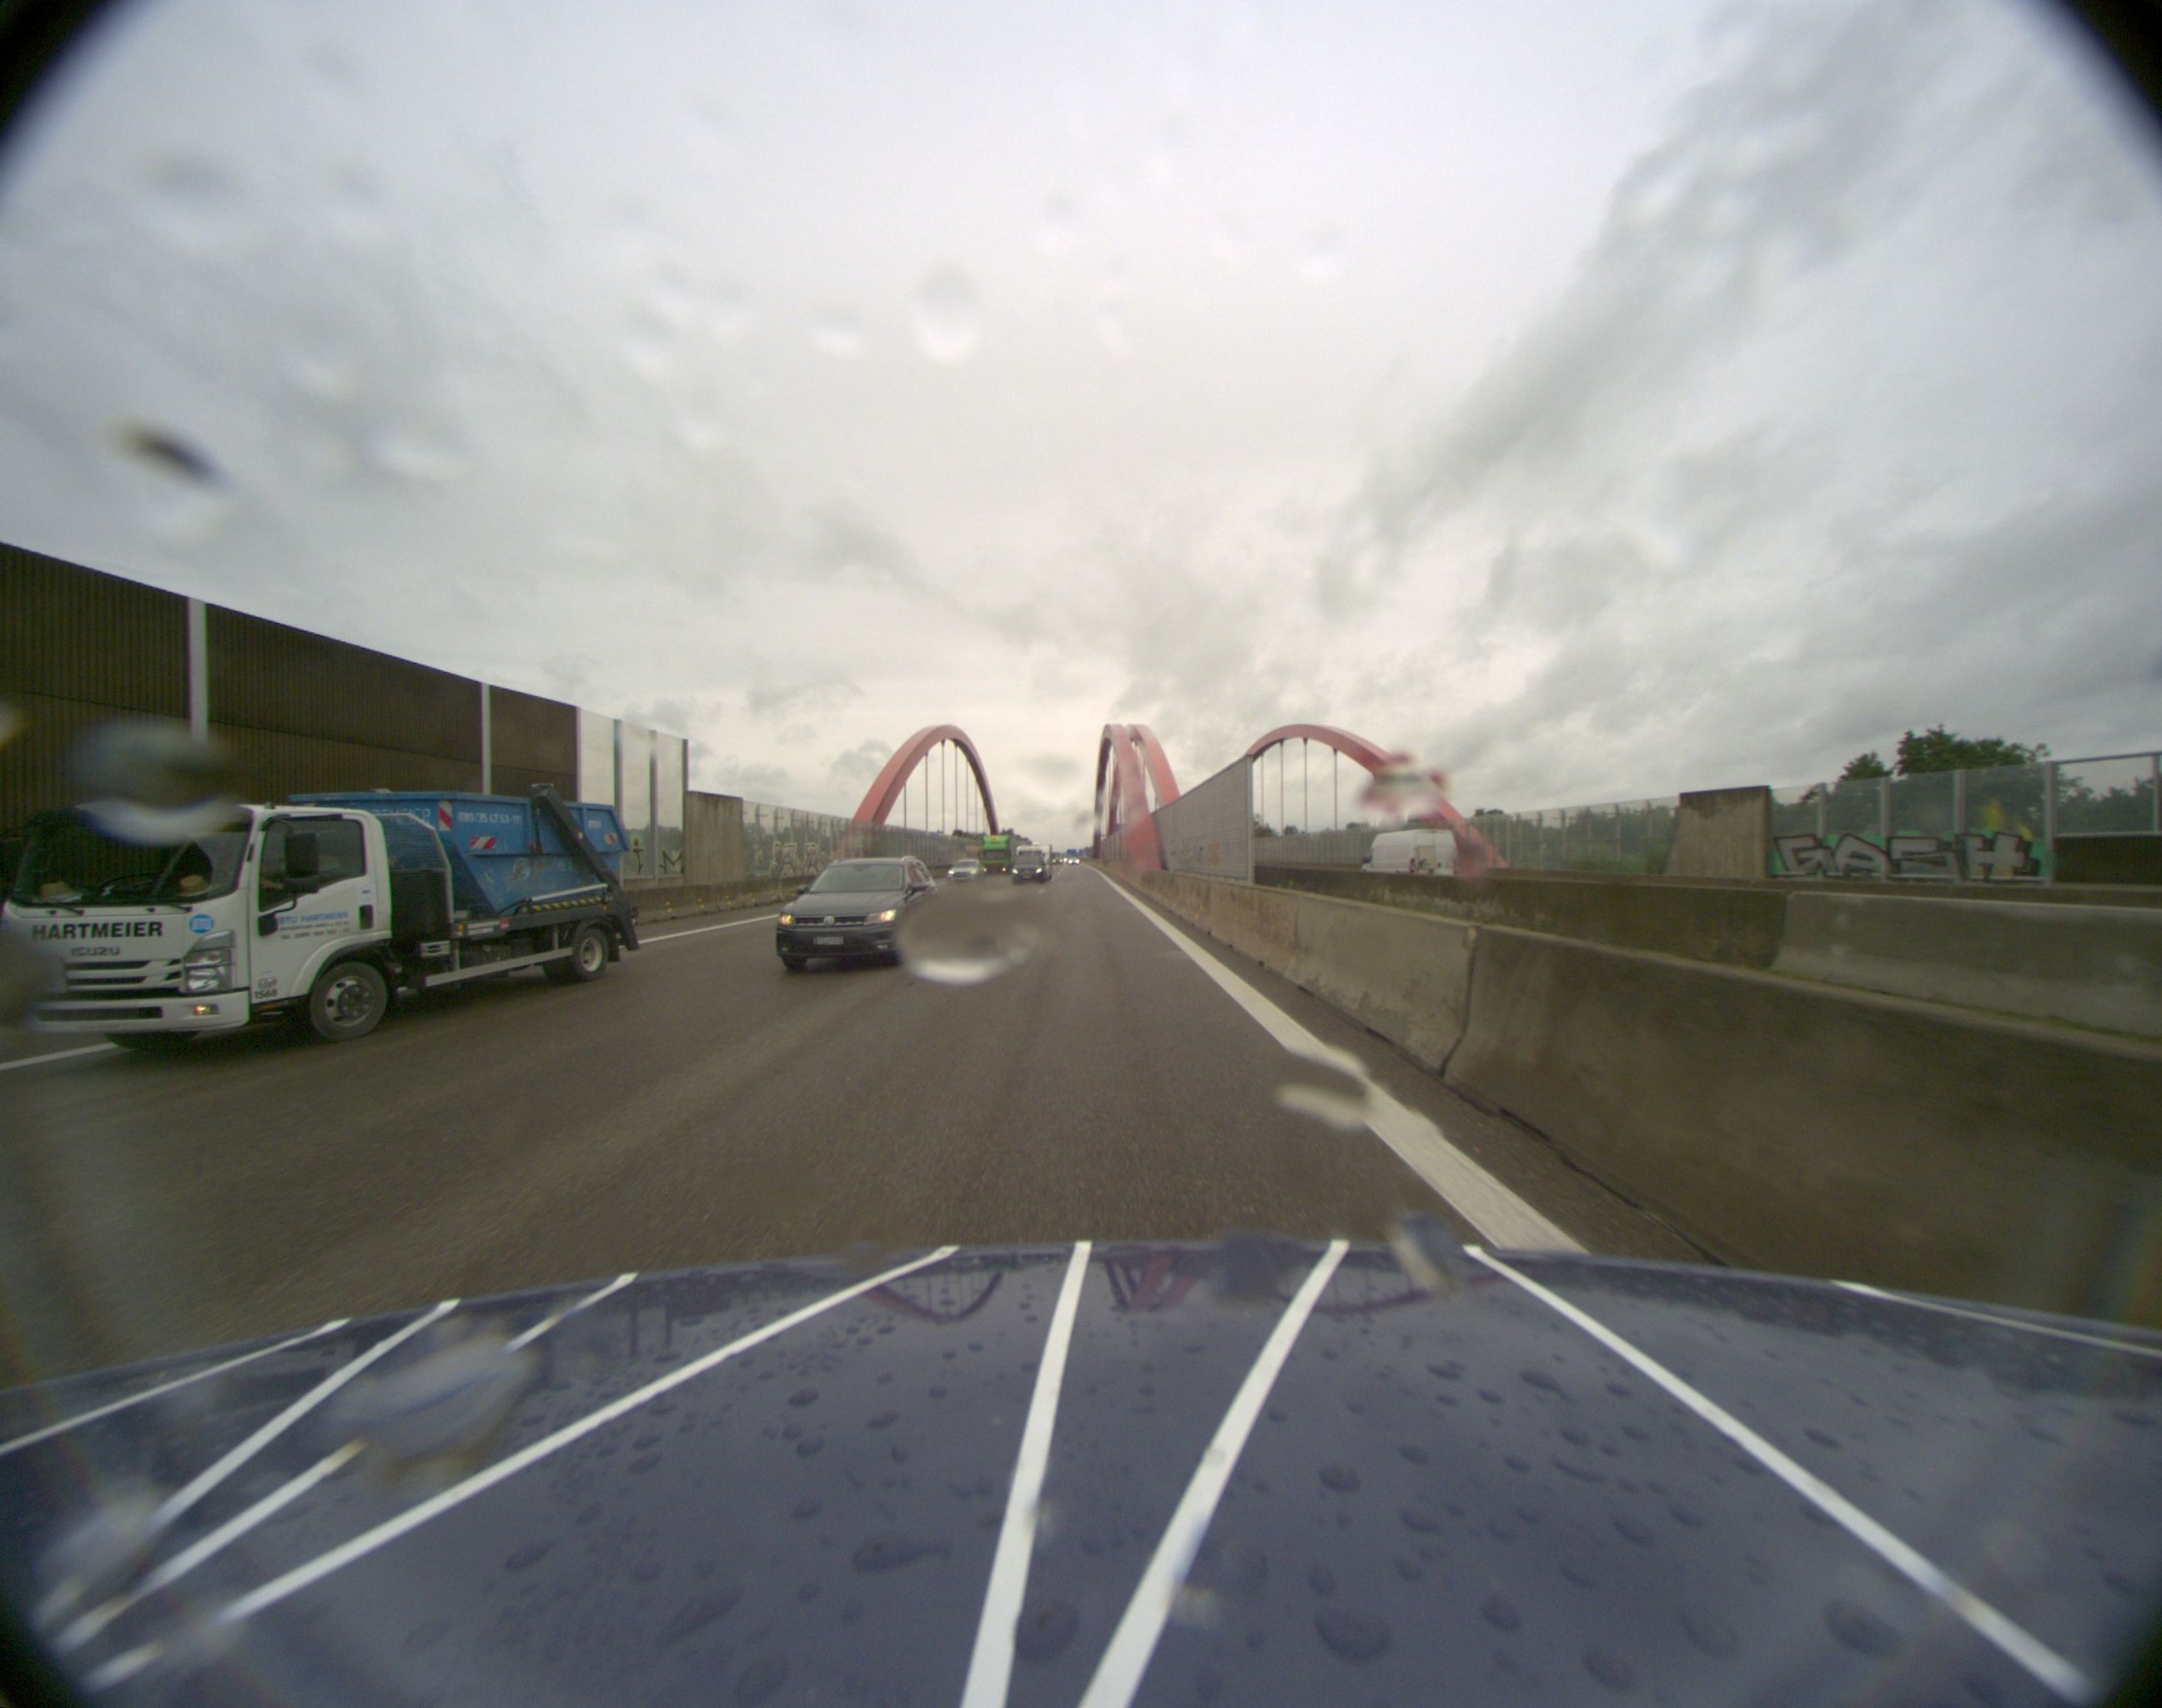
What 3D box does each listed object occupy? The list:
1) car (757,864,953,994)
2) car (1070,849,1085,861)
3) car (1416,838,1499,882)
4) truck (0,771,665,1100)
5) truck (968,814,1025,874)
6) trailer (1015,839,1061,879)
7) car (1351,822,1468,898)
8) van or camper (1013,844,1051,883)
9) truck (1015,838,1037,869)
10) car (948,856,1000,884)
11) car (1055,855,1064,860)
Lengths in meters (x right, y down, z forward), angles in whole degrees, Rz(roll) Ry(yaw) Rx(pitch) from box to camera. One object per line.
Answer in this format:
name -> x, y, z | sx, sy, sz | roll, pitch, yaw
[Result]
car -> -3.472, 1.068, 12.562 | 1.916, 1.660, 4.104 | -2, 0, 0
car -> -0.674, 0.182, 154.953 | 2.681, 2.340, 5.806 | -1, 0, -4
car -> 18.702, 0.291, 37.948 | 1.999, 2.002, 3.999 | -3, 0, -1
truck -> -7.927, 0.643, 8.952 | 2.367, 2.492, 6.144 | -2, 0, 3
truck -> -7.947, -0.917, 73.260 | 4.008, 5.235, 11.218 | -2, 0, 0
trailer -> -3.005, 0.345, 54.771 | 2.728, 2.627, 7.512 | -1, 0, 1
car -> 15.058, 0.107, 35.447 | 2.224, 2.971, 7.070 | -2, 4, -1
van or camper -> -3.020, 0.572, 48.132 | 1.895, 2.256, 5.679 | -1, 0, 1
truck -> -7.508, -0.073, 104.795 | 2.821, 3.927, 12.709 | -1, 0, -3
car -> -6.866, 1.004, 49.383 | 1.998, 1.610, 5.330 | -2, 0, 6
car -> -4.764, 0.706, 168.707 | 2.061, 1.020, 3.437 | -3, 0, -2
